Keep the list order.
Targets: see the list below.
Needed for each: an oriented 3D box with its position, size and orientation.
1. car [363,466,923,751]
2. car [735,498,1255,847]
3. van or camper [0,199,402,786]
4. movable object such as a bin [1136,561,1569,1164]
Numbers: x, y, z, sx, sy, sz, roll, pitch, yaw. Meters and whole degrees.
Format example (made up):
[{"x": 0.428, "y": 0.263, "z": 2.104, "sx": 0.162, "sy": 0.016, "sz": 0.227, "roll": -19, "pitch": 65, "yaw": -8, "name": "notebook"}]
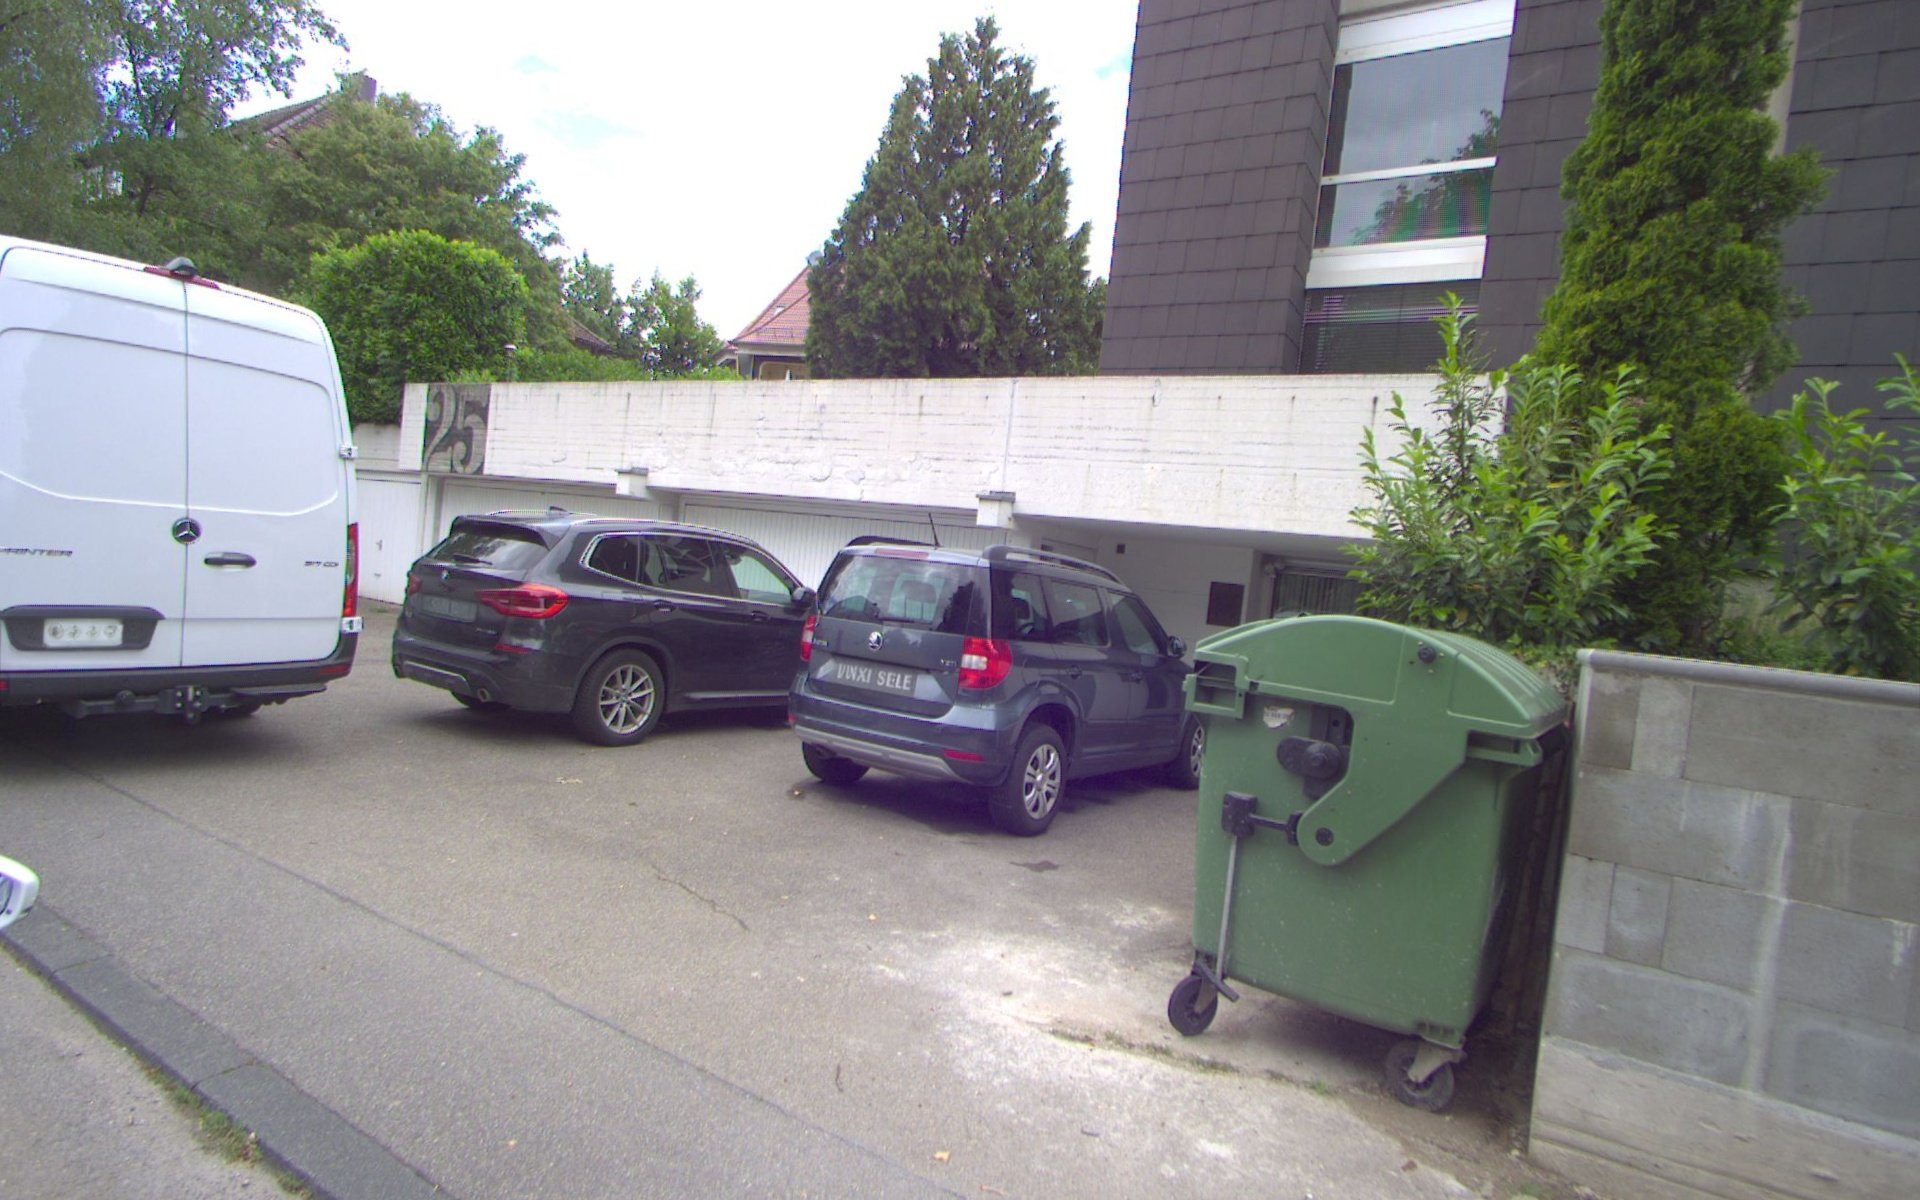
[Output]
[{"x": -2.360, "y": 0.120, "z": 8.684, "sx": 1.710, "sy": 1.772, "sz": 4.418, "roll": 7, "pitch": 1, "yaw": 33, "name": "car"}, {"x": 0.535, "y": 0.449, "z": 7.403, "sx": 1.804, "sy": 1.772, "sz": 3.973, "roll": 7, "pitch": 1, "yaw": 35, "name": "car"}, {"x": -6.704, "y": -0.736, "z": 6.907, "sx": 6.432, "sy": 2.653, "sz": 1.995, "roll": 7, "pitch": 1, "yaw": 32, "name": "van or camper"}, {"x": 1.354, "y": 0.726, "z": 3.398, "sx": 1.016, "sy": 1.550, "sz": 1.034, "roll": 7, "pitch": 2, "yaw": 33, "name": "movable object such as a bin"}]
